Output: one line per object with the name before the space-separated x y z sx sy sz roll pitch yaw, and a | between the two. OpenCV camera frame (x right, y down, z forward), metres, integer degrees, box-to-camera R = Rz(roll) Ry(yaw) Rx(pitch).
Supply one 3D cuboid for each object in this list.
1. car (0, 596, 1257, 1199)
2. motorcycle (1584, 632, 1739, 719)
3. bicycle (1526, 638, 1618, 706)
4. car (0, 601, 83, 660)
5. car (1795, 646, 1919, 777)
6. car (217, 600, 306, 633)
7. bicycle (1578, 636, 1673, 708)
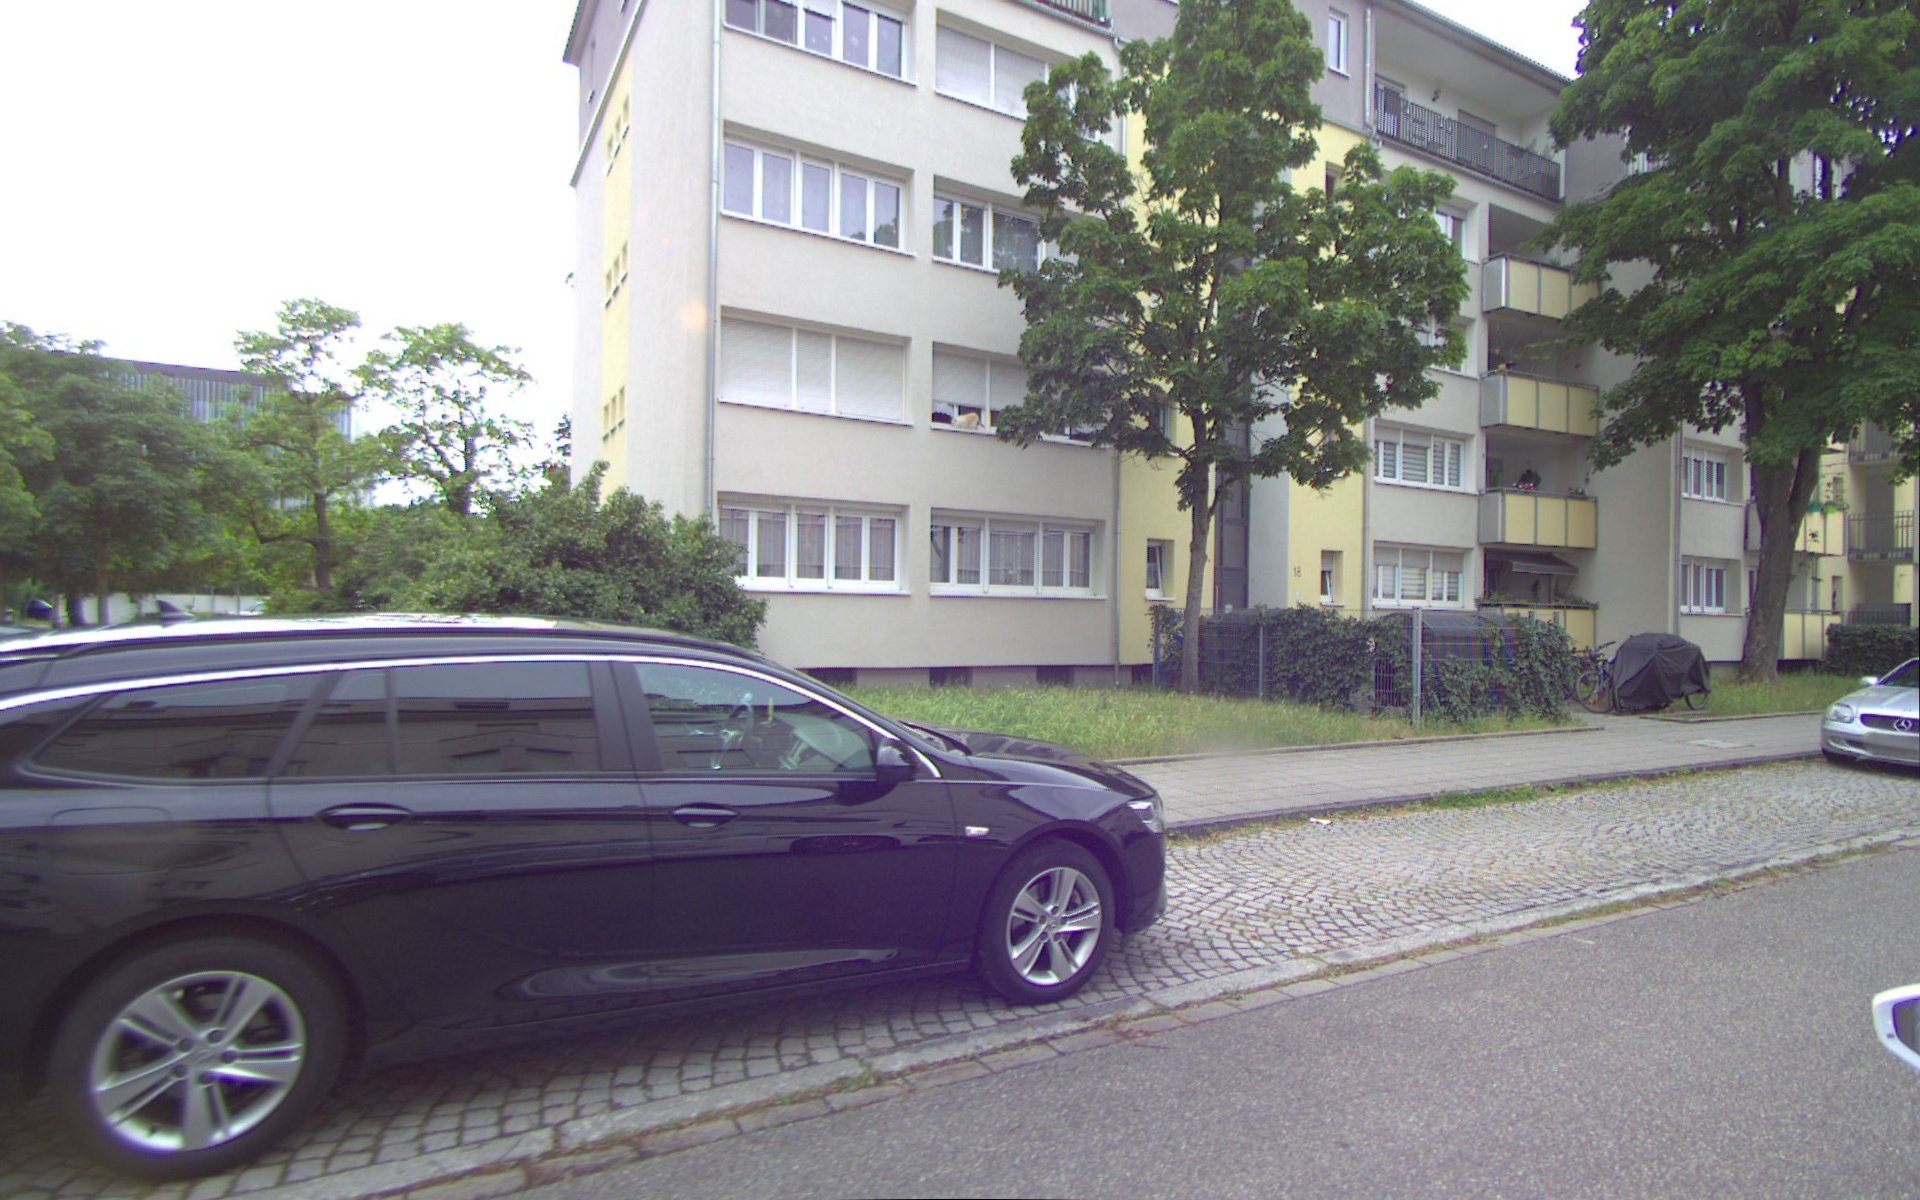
car | -1.234 0.798 4.115 4.775 1.484 1.859 1 2 -29
motorcycle | 11.017 1.144 15.730 3.028 1.240 0.678 1 0 -28
bicycle | 10.510 1.214 17.244 1.753 1.115 0.549 1 0 -29
car | -25.262 0.772 25.345 4.512 1.474 1.664 0 0 -34
car | 11.654 1.236 11.668 3.967 1.275 1.689 1 1 -30
car | -43.099 1.007 62.084 4.446 1.884 1.981 1 2 -34
bicycle | 10.977 1.166 16.543 1.753 1.115 0.549 1 0 -29
